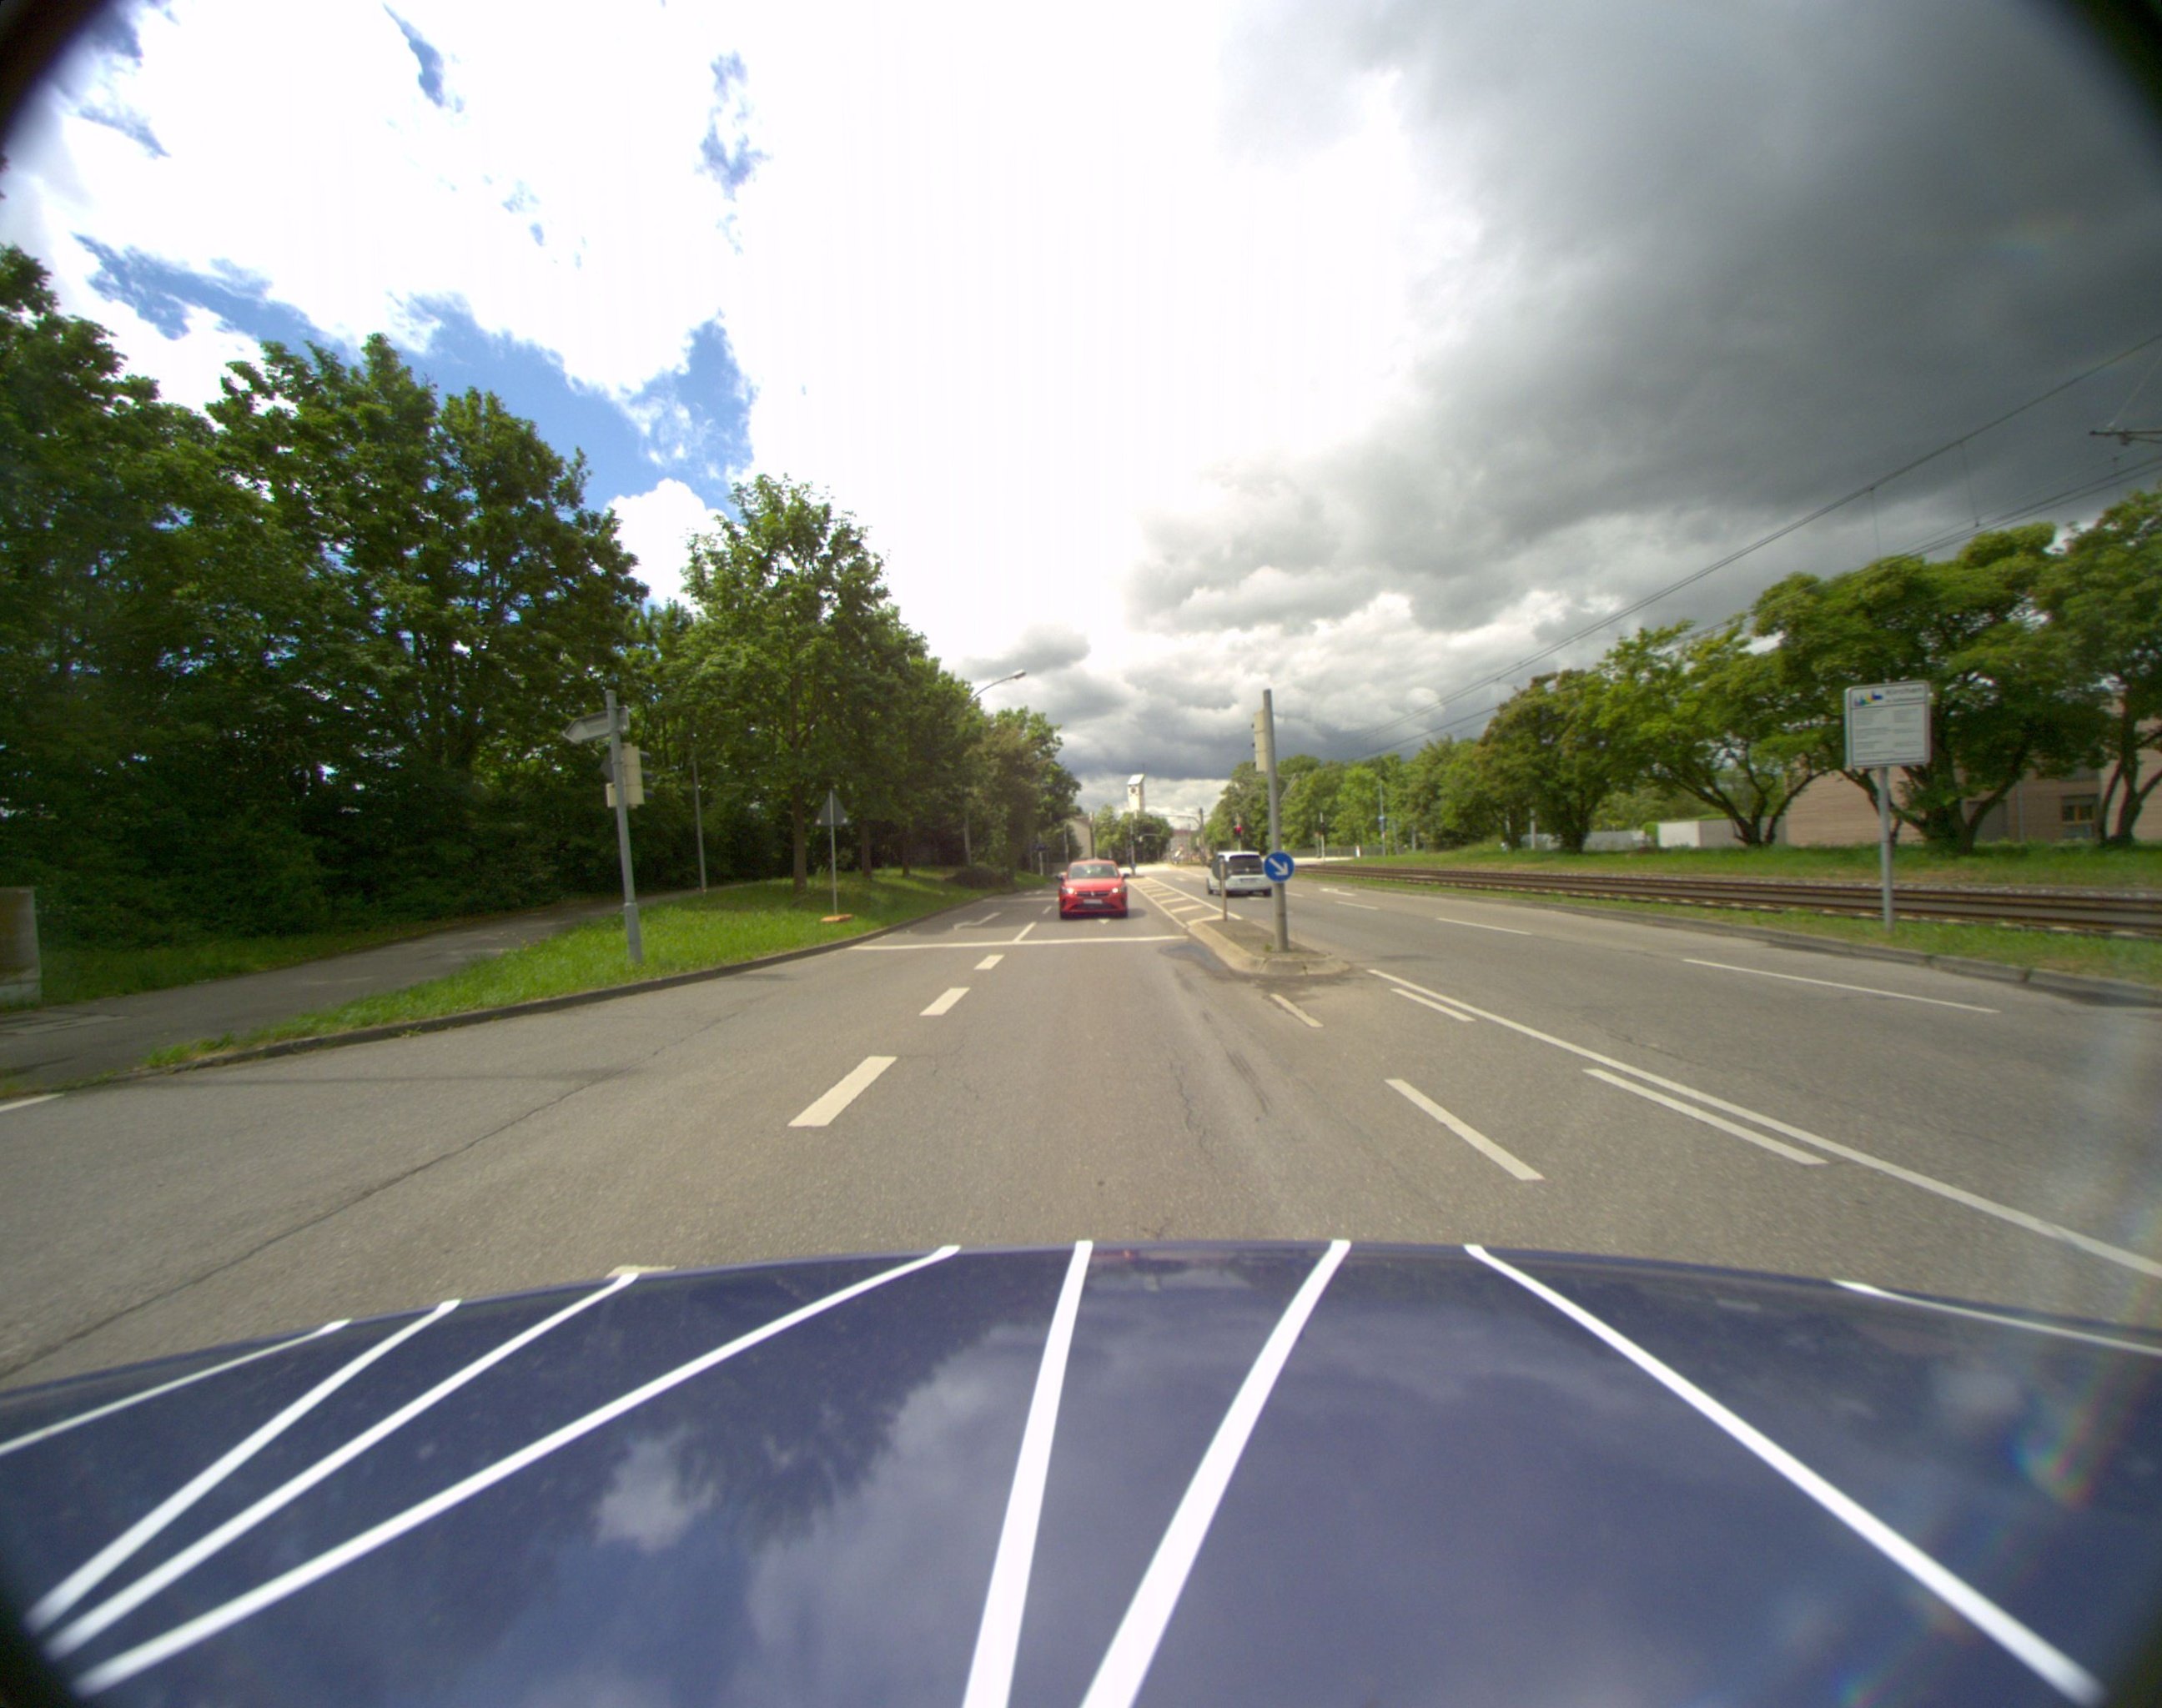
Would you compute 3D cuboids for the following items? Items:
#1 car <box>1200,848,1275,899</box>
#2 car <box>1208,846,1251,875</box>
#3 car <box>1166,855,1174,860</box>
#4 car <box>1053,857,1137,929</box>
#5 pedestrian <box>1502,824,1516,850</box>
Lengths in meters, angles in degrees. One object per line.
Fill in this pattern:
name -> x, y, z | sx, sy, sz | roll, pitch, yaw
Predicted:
car -> 5.427, 0.618, 26.808 | 1.733, 1.603, 4.262 | -1, 1, -1
car -> 9.492, 0.387, 48.764 | 1.998, 1.650, 4.522 | -3, 1, 3
car -> 24.856, 1.000, 212.409 | 1.789, 1.340, 4.854 | -3, 1, 5
car -> 0.352, 0.890, 19.528 | 1.790, 1.453, 4.852 | -3, 1, 1
pedestrian -> 29.842, -1.187, 53.013 | 0.801, 1.713, 0.491 | -4, 1, -37
